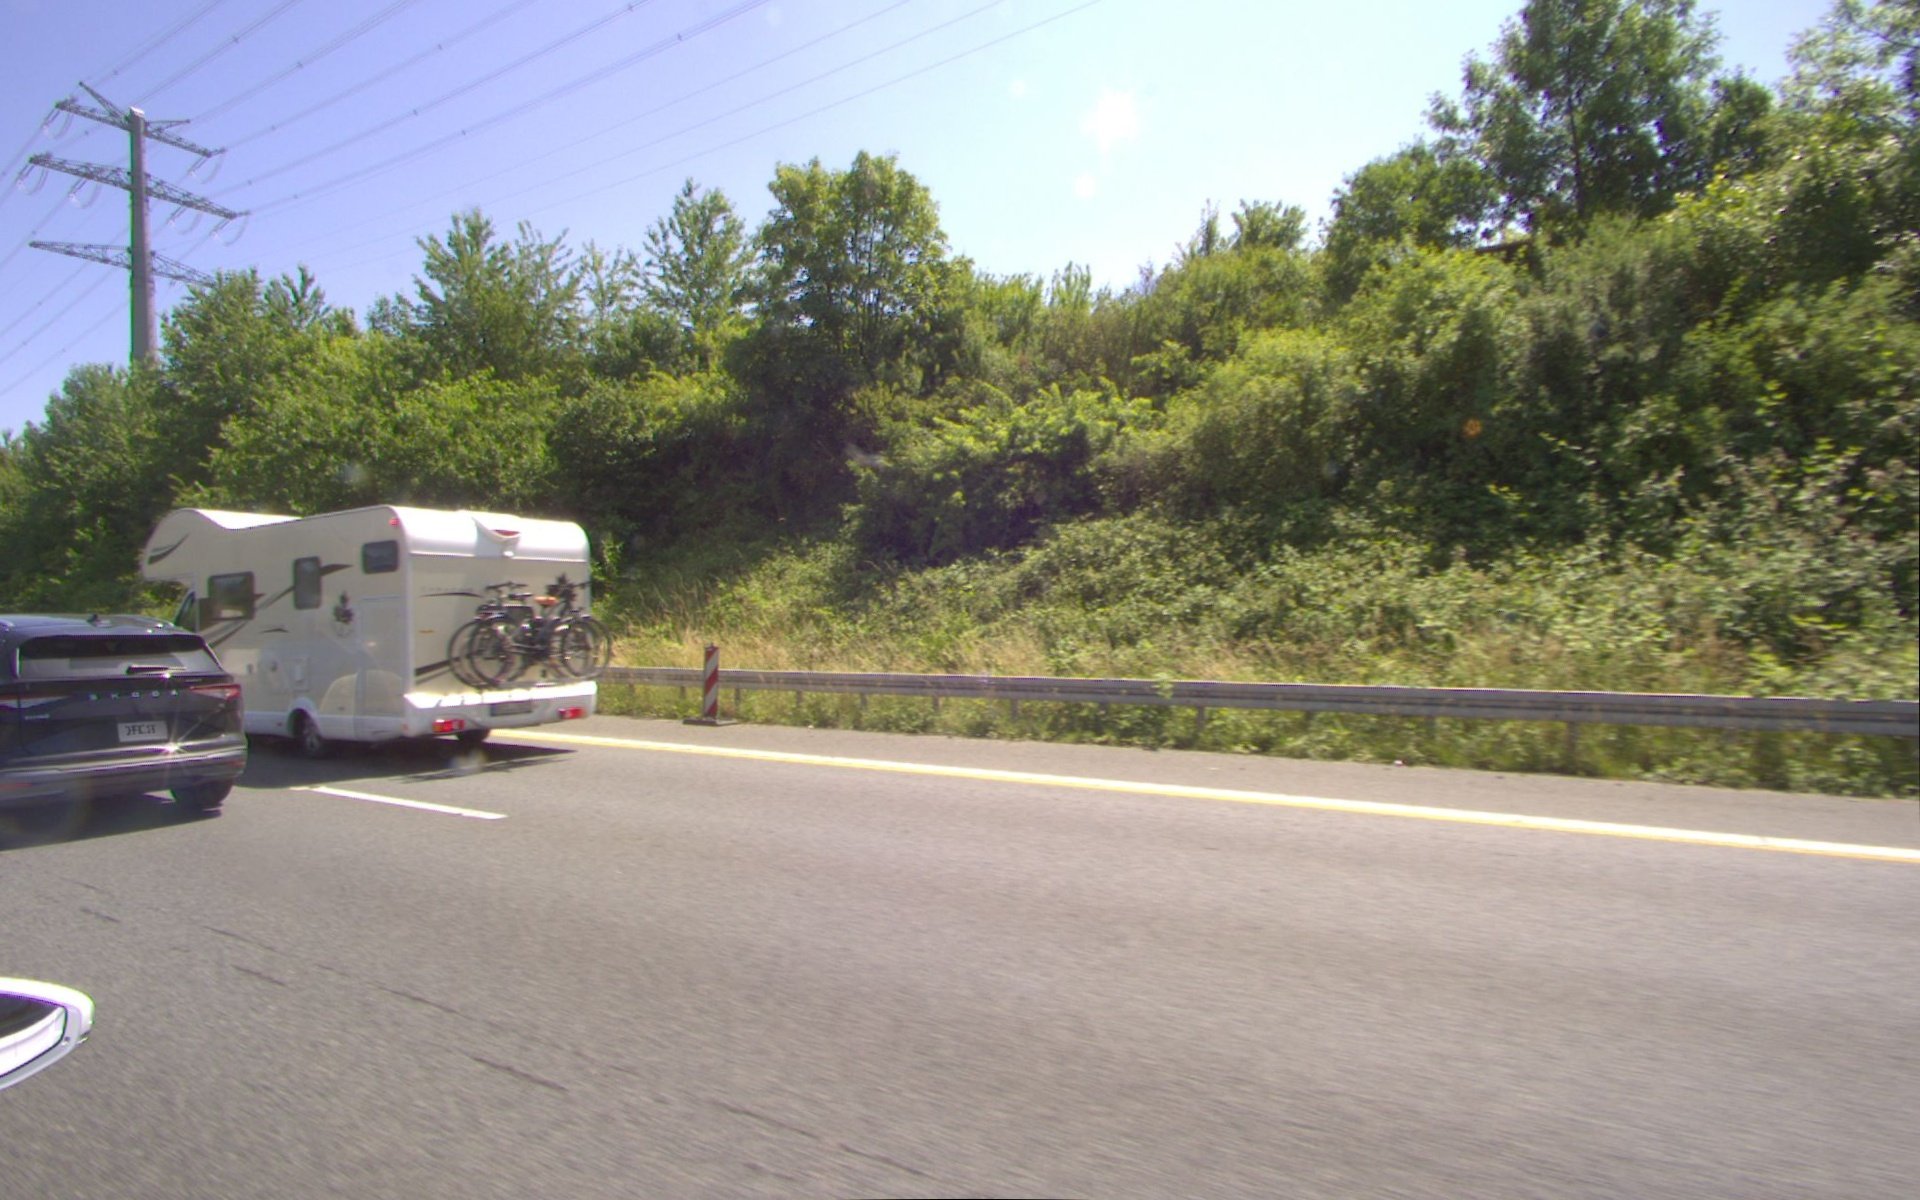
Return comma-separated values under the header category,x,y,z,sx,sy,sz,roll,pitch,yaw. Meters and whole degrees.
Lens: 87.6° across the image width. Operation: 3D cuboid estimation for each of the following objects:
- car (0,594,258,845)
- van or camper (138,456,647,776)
category,x,y,z,sx,sy,sz,roll,pitch,yaw
car,-7.916,0.864,8.398,4.365,1.676,1.699,-1,-2,31
van or camper,-7.441,0.268,12.689,7.524,3.082,2.365,-1,-2,33
